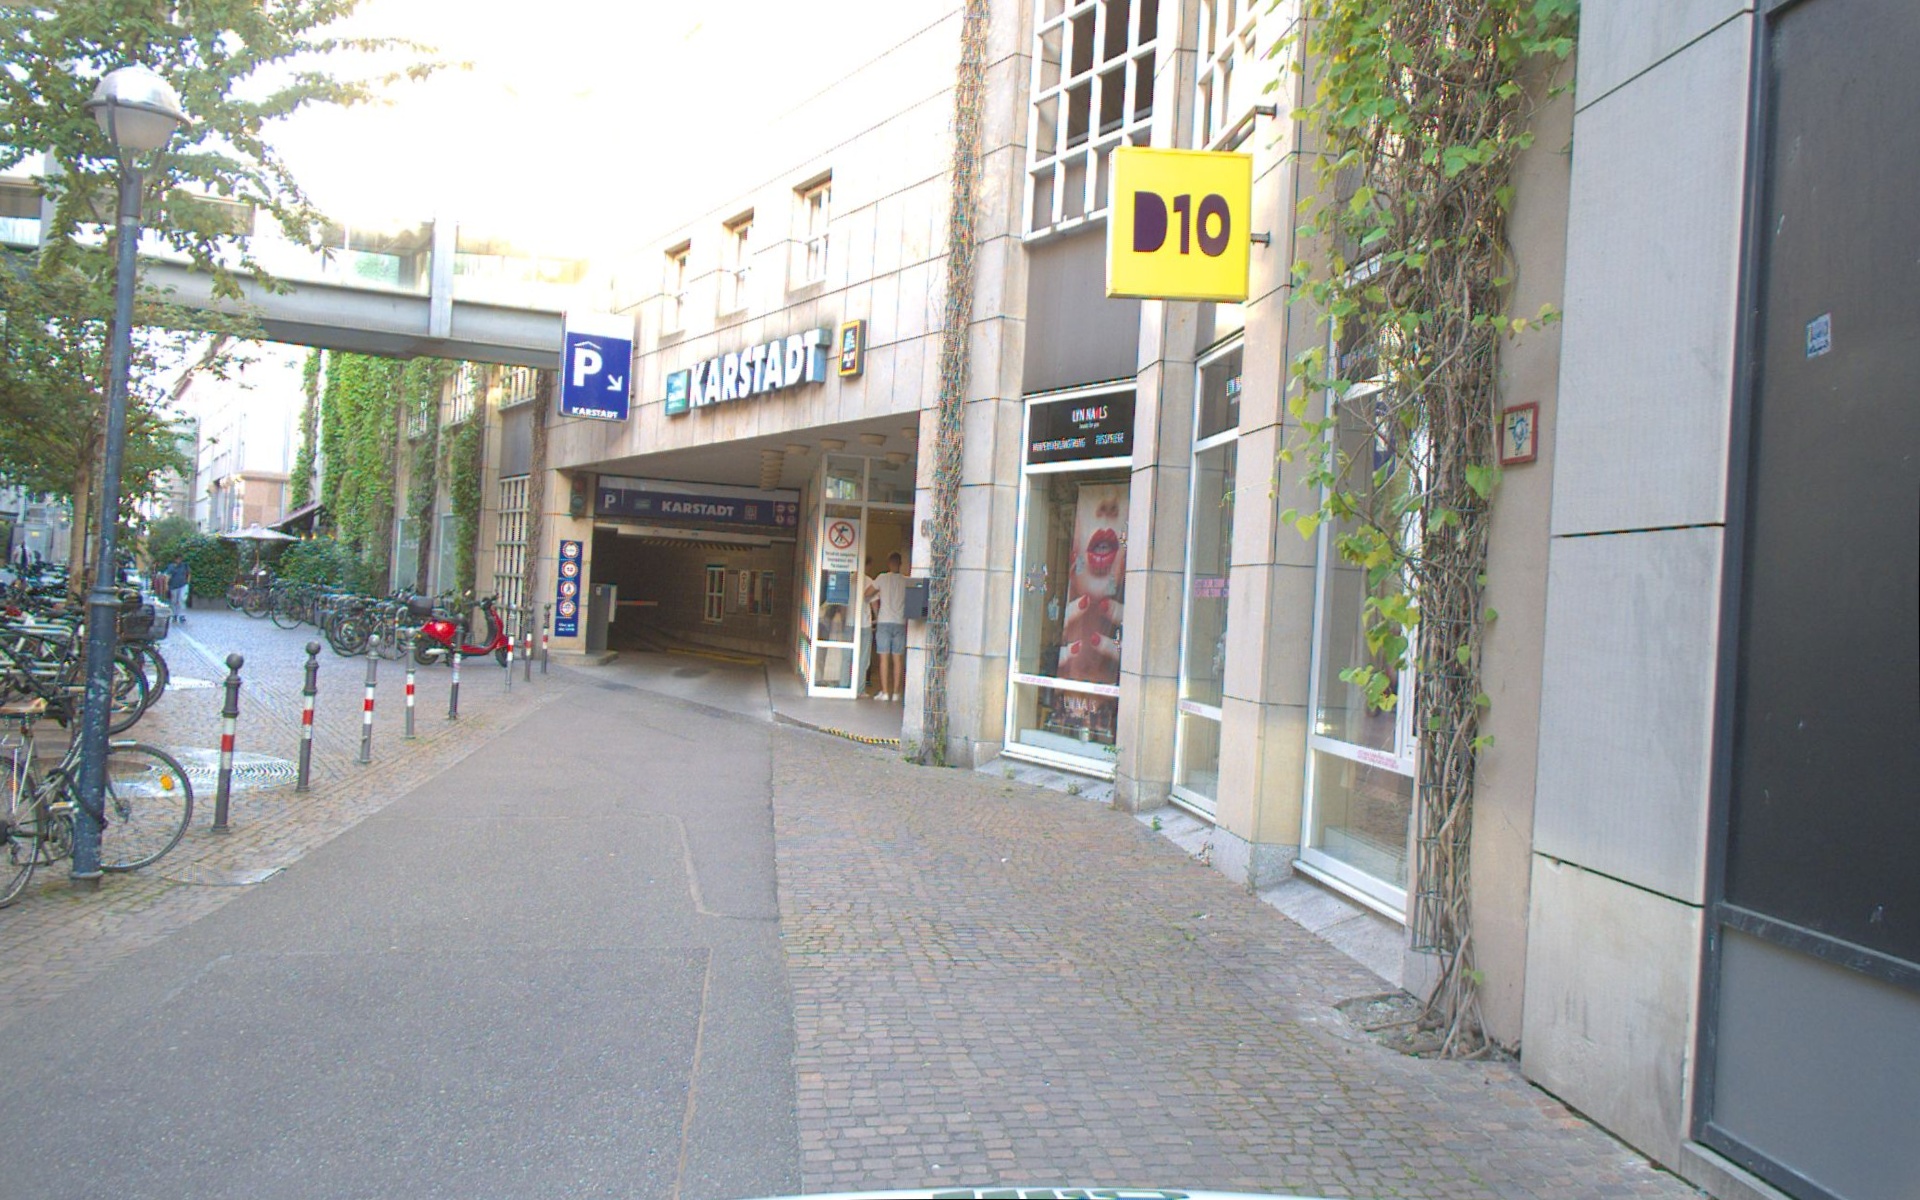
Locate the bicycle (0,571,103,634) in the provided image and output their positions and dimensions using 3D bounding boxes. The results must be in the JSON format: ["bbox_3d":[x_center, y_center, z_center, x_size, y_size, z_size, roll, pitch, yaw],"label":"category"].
[{"bbox_3d":[-18.960,0.050,34.430,1.888,1.203,0.691,3,0,-25],"label":"bicycle"}]

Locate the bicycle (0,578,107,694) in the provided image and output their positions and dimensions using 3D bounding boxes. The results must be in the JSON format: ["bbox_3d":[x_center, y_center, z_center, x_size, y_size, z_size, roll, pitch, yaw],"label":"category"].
[{"bbox_3d":[-10.383,0.371,17.962,1.888,1.203,0.691,3,0,-25],"label":"bicycle"}]

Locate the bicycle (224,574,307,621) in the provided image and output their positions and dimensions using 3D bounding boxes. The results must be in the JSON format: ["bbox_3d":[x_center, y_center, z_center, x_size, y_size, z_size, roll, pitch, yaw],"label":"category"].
[{"bbox_3d":[-18.410,-0.064,43.860,1.970,1.203,0.688,1,1,-27],"label":"bicycle"}]

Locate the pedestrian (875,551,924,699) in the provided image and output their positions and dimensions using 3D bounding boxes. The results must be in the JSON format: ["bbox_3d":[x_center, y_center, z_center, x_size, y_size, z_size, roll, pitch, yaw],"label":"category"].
[{"bbox_3d":[-0.790,0.322,21.667,0.531,1.893,0.408,3,0,-1],"label":"pedestrian"}]

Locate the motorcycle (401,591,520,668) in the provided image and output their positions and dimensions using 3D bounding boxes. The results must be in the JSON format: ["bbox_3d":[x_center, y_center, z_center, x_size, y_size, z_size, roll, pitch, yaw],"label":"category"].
[{"bbox_3d":[-7.895,0.475,26.142,1.723,1.175,0.590,1,0,-25],"label":"motorcycle"}]

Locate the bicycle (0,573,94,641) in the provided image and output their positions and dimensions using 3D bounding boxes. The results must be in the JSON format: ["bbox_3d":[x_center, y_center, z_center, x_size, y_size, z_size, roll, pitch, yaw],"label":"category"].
[{"bbox_3d":[-17.336,0.125,30.979,1.888,1.203,0.691,3,0,-25],"label":"bicycle"}]

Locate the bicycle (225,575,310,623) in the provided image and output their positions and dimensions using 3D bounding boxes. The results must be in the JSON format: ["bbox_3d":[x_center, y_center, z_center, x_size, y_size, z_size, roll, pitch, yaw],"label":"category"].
[{"bbox_3d":[-18.042,-0.031,43.094,1.970,1.203,0.688,1,1,-27],"label":"bicycle"}]

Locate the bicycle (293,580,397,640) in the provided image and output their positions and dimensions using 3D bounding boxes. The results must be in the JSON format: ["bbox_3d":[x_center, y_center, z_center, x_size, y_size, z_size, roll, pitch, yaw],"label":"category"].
[{"bbox_3d":[-12.871,0.214,34.638,1.970,1.203,0.688,1,1,-27],"label":"bicycle"}]

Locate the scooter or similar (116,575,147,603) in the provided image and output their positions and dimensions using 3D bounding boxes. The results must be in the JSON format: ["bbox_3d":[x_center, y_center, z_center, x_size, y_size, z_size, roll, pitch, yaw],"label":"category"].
[{"bbox_3d":[-27.744,-0.368,55.388,0.881,0.858,0.903,3,0,-29],"label":"scooter or similar"}]

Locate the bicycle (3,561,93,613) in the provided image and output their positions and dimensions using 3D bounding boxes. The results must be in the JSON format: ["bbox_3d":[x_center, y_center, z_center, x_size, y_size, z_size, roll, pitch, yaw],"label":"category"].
[{"bbox_3d":[-23.024,-0.322,41.795,1.888,1.203,0.691,3,0,-25],"label":"bicycle"}]

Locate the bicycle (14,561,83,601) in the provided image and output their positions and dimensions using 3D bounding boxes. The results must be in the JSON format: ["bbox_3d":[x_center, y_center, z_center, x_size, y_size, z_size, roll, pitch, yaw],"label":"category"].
[{"bbox_3d":[-30.051,-0.634,54.567,1.888,1.203,0.691,3,0,-25],"label":"bicycle"}]

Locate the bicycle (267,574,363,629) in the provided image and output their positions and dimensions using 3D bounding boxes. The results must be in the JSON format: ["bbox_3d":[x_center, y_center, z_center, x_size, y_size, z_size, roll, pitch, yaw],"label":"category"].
[{"bbox_3d":[-14.757,0.042,37.838,1.970,1.203,0.688,1,1,-27],"label":"bicycle"}]

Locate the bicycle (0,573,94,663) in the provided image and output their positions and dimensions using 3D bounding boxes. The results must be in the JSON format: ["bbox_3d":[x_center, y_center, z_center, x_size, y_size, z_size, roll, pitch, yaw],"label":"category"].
[{"bbox_3d":[-13.218,0.233,23.088,1.888,1.203,0.691,3,0,-25],"label":"bicycle"}]

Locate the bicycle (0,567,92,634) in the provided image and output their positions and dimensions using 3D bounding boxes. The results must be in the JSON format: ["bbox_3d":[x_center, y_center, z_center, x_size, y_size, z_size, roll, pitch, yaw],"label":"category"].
[{"bbox_3d":[-17.783,0.000,31.731,1.888,1.203,0.691,3,0,-25],"label":"bicycle"}]

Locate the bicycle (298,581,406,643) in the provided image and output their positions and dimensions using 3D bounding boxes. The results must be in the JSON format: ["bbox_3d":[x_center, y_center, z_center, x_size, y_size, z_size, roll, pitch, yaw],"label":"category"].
[{"bbox_3d":[-12.306,0.249,33.469,1.970,1.203,0.688,1,1,-27],"label":"bicycle"}]

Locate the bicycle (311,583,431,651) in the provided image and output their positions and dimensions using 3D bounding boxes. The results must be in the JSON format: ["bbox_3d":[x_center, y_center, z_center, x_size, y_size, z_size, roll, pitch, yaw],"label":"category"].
[{"bbox_3d":[-10.798,0.312,30.326,1.970,1.203,0.796,1,1,-27],"label":"bicycle"}]

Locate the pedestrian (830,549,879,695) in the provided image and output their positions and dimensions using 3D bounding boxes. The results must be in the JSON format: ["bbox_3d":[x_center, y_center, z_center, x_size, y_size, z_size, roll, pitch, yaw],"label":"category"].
[{"bbox_3d":[-1.391,0.284,21.823,0.531,1.878,0.408,3,0,-1],"label":"pedestrian"}]

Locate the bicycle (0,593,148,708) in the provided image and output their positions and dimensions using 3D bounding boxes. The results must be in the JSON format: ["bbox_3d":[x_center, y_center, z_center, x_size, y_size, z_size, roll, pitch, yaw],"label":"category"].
[{"bbox_3d":[-9.528,0.512,17.172,1.888,1.121,0.691,3,0,-25],"label":"bicycle"}]

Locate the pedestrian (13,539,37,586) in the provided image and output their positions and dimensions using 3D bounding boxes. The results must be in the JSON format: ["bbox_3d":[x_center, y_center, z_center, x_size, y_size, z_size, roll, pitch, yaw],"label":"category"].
[{"bbox_3d":[-37.923,-1.519,67.068,0.767,1.836,0.627,3,0,-32],"label":"pedestrian"}]

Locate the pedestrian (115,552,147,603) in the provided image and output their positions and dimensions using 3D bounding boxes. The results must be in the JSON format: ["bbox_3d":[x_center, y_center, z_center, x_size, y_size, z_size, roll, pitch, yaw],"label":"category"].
[{"bbox_3d":[-28.158,-0.776,56.194,0.881,1.668,0.903,3,0,-29],"label":"pedestrian"}]

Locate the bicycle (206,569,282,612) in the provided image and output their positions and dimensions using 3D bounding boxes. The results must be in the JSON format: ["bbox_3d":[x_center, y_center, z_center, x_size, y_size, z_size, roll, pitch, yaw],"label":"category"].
[{"bbox_3d":[-20.803,-0.271,48.053,1.970,1.203,0.688,1,1,-27],"label":"bicycle"}]

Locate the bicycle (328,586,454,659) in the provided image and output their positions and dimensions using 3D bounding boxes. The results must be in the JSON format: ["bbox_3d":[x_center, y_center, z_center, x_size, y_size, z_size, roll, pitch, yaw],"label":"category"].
[{"bbox_3d":[-9.777,0.387,28.437,1.970,1.203,0.690,1,1,-27],"label":"bicycle"}]

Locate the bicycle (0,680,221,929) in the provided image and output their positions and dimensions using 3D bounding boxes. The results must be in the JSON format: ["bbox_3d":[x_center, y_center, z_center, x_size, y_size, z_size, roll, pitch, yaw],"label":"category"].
[{"bbox_3d":[-4.291,0.927,7.951,0.494,0.983,1.696,3,0,8],"label":"bicycle"}]

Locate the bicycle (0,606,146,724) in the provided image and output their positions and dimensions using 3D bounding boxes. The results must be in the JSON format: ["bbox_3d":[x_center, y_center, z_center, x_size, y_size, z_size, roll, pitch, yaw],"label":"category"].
[{"bbox_3d":[-8.555,0.586,15.184,1.891,1.011,0.690,3,0,-28],"label":"bicycle"}]

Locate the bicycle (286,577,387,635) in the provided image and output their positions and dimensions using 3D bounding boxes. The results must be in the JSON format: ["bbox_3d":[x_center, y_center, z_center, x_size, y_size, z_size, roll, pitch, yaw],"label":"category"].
[{"bbox_3d":[-13.437,0.141,35.641,1.970,1.203,0.688,1,1,-27],"label":"bicycle"}]

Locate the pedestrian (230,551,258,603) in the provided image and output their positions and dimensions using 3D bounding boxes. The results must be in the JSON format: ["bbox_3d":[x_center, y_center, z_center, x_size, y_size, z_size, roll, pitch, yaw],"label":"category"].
[{"bbox_3d":[-26.031,-0.831,60.143,0.767,1.836,0.759,3,0,-32],"label":"pedestrian"}]

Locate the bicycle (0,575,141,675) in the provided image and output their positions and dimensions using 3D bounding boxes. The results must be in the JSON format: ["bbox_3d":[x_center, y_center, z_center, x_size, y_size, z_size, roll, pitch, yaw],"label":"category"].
[{"bbox_3d":[-11.752,0.322,21.496,1.888,1.203,0.691,3,0,-25],"label":"bicycle"}]

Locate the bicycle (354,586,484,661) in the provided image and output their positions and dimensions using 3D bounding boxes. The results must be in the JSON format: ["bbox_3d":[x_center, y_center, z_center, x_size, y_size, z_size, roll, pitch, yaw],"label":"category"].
[{"bbox_3d":[-9.044,0.394,27.671,1.970,1.203,0.690,1,1,-27],"label":"bicycle"}]

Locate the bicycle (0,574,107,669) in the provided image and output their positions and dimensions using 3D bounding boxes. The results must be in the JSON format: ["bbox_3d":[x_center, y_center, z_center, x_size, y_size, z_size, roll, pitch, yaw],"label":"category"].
[{"bbox_3d":[-12.537,0.276,22.132,1.888,1.203,0.691,3,0,-25],"label":"bicycle"}]

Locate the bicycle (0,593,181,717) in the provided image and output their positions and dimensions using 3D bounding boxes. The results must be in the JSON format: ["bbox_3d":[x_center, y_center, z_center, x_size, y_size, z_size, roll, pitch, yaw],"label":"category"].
[{"bbox_3d":[-8.666,0.533,16.095,1.891,1.121,0.690,3,0,-28],"label":"bicycle"}]

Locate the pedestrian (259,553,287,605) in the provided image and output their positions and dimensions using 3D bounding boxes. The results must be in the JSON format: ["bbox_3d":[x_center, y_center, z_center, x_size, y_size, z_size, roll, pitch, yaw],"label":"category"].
[{"bbox_3d":[-25.050,-0.775,60.317,0.767,1.836,0.759,3,0,-32],"label":"pedestrian"}]

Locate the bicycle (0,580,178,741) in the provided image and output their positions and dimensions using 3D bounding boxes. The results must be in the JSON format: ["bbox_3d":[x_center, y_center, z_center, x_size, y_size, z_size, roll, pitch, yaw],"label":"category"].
[{"bbox_3d":[-7.652,0.496,13.884,1.891,1.283,0.801,3,0,-28],"label":"bicycle"}]

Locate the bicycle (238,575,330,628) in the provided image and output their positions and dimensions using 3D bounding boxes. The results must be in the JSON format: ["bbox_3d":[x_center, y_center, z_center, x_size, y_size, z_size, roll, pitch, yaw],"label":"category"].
[{"bbox_3d":[-16.130,0.038,39.479,1.970,1.203,0.688,1,1,-27],"label":"bicycle"}]

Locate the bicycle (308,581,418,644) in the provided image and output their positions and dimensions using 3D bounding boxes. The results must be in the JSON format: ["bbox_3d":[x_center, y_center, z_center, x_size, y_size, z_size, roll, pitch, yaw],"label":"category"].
[{"bbox_3d":[-11.781,0.244,32.652,1.970,1.203,0.688,1,1,-27],"label":"bicycle"}]

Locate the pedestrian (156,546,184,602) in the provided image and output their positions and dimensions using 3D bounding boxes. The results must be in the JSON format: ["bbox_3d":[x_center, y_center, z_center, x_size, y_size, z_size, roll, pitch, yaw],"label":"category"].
[{"bbox_3d":[-26.618,-0.891,55.730,0.756,1.836,0.770,3,0,-29],"label":"pedestrian"}]

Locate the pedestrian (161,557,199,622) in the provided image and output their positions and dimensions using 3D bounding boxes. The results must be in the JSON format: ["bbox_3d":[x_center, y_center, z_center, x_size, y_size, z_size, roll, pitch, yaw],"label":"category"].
[{"bbox_3d":[-18.921,-0.248,40.111,0.740,1.535,0.632,3,0,-29],"label":"pedestrian"}]

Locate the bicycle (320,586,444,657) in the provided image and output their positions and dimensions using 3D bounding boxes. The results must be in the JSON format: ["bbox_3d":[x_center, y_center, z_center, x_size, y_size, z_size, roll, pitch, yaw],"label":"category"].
[{"bbox_3d":[-10.217,0.381,29.264,1.970,1.203,0.796,1,1,-27],"label":"bicycle"}]

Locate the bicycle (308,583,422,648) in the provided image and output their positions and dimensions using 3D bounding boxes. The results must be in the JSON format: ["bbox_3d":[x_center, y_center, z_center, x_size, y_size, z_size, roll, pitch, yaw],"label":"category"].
[{"bbox_3d":[-11.406,0.304,31.708,1.970,1.203,0.796,1,1,-27],"label":"bicycle"}]
